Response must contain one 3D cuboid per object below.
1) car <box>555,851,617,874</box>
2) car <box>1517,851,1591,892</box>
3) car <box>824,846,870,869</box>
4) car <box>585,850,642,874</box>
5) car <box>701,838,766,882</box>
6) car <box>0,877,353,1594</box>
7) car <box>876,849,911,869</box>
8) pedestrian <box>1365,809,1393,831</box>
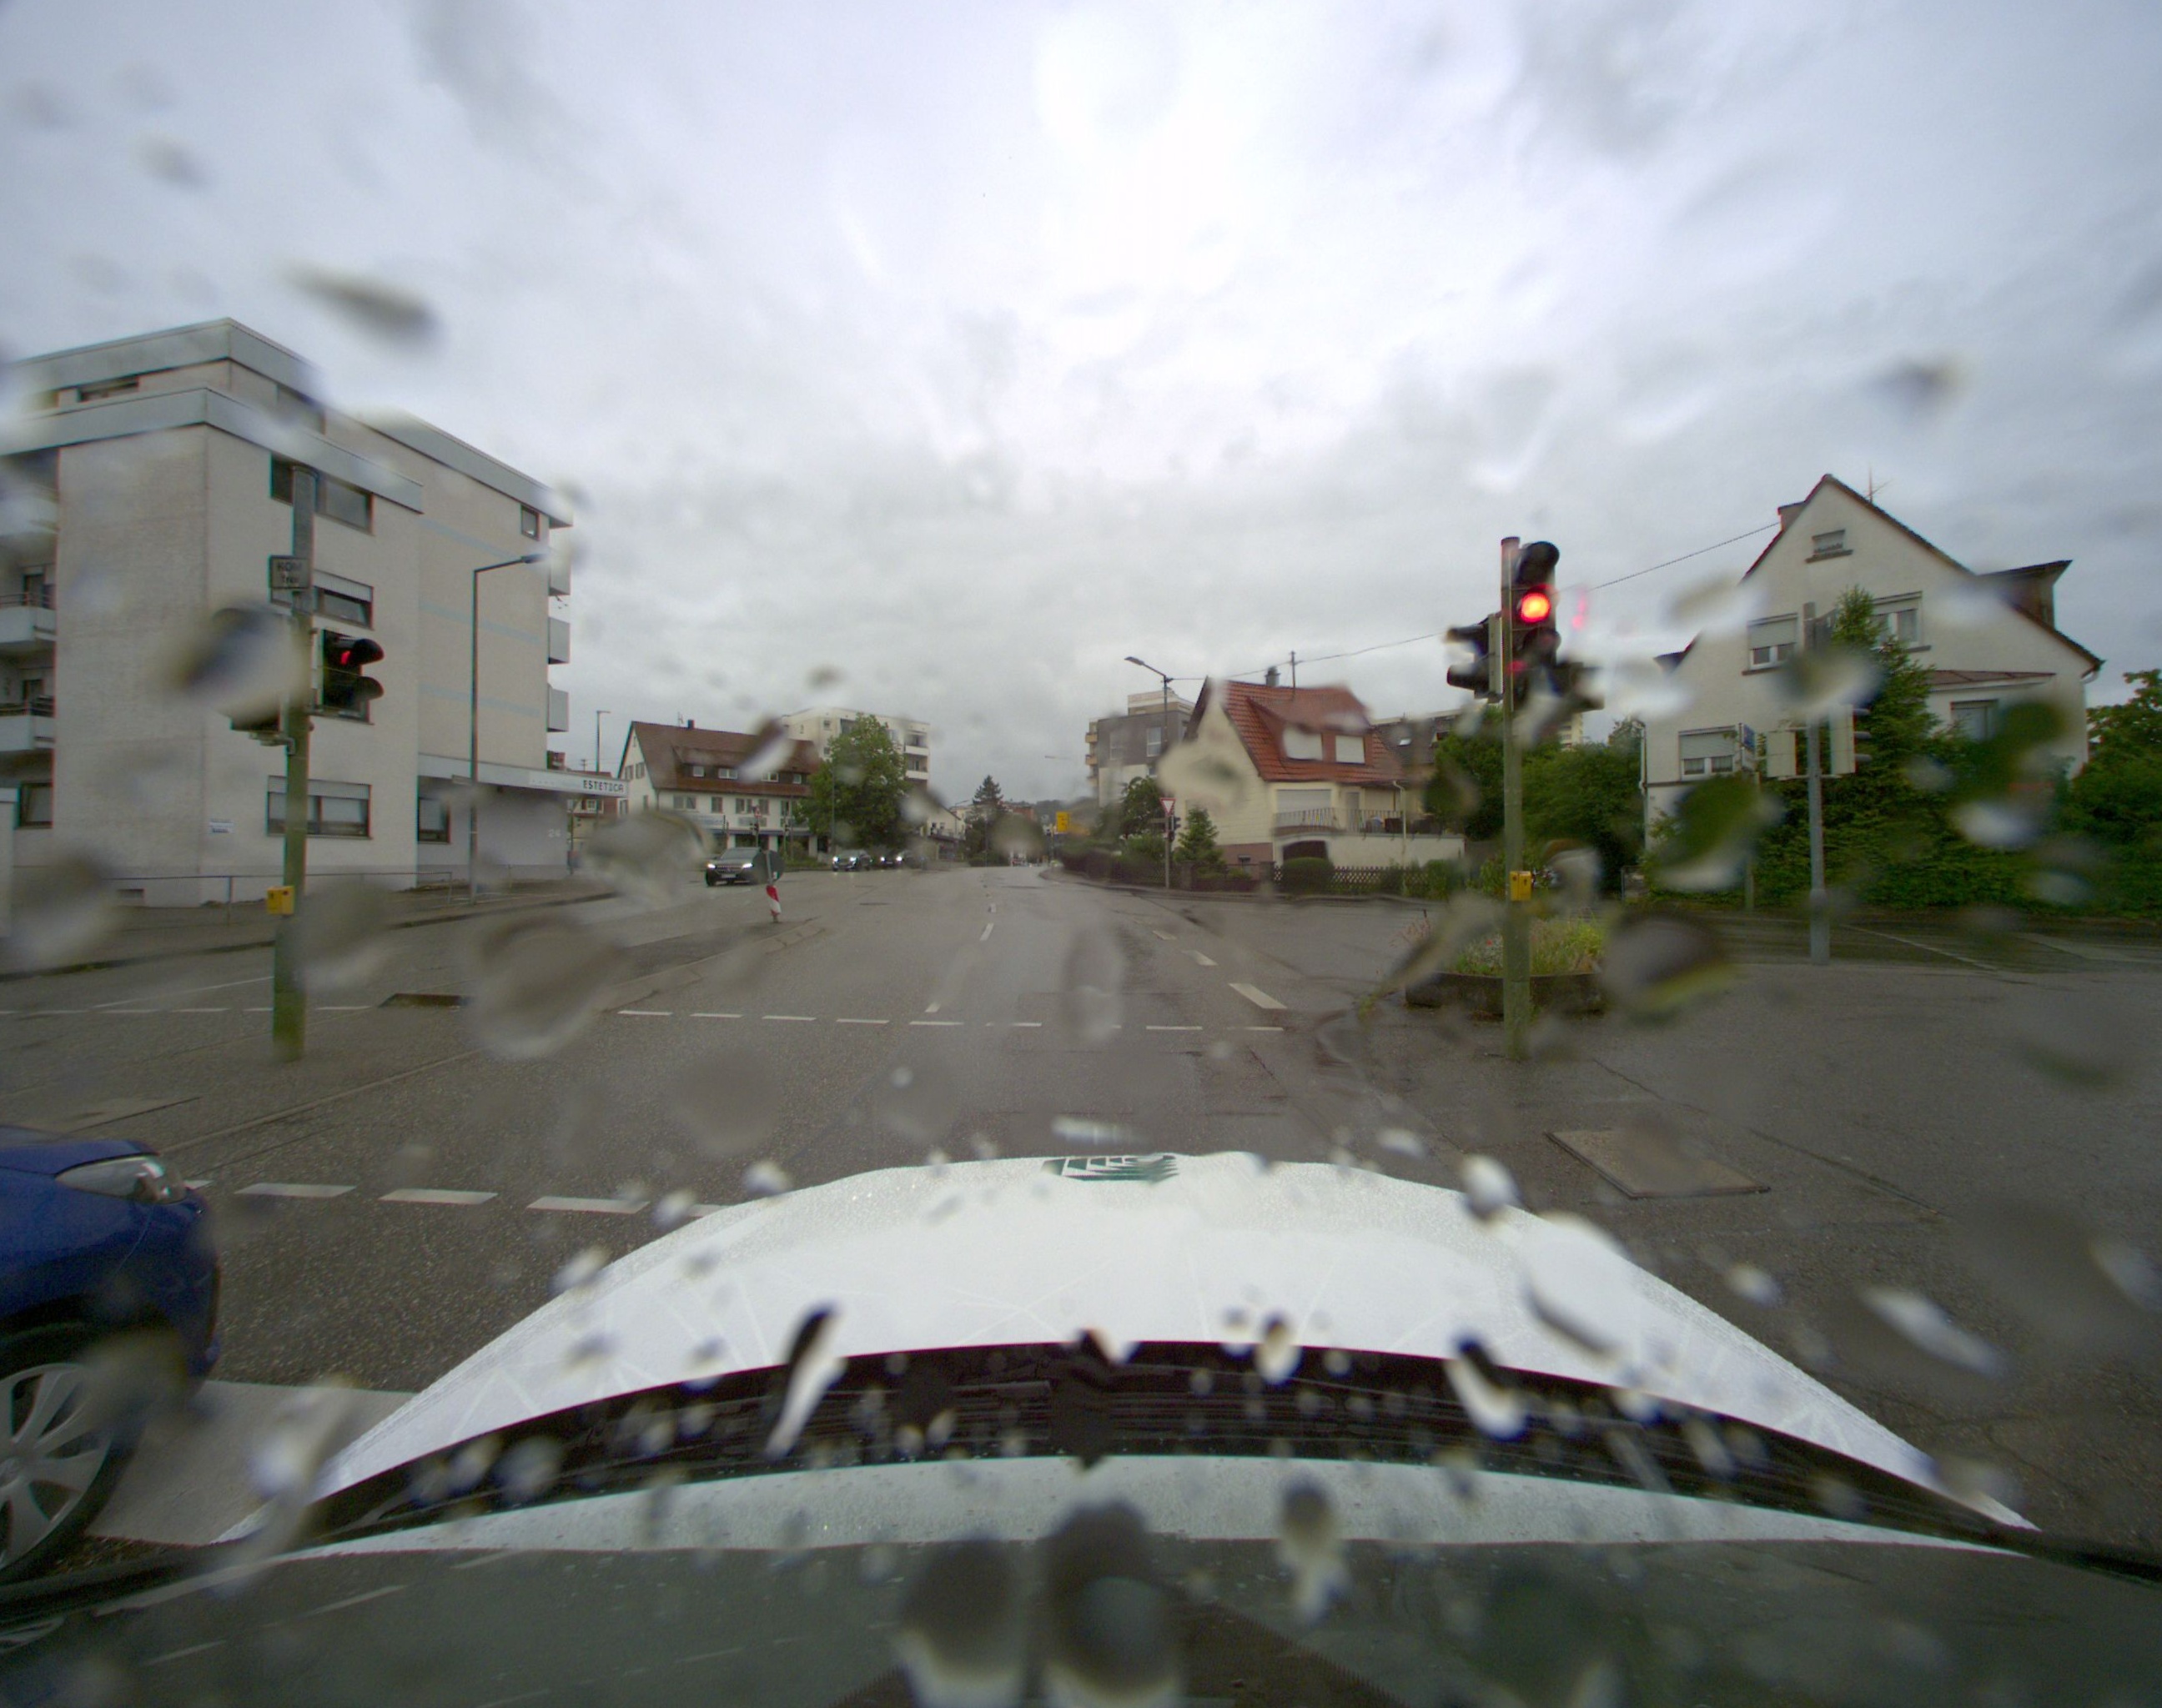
[{"bbox_3d":[-41.215,0.672,67.803,4.093,1.843,1.864,0,-1,-44],"label":"car"},{"bbox_3d":[17.112,0.597,29.373,1.794,1.362,4.025,-1,-1,37],"label":"car"},{"bbox_3d":[-15.996,0.262,55.834,1.960,1.512,3.999,0,-1,0],"label":"car"},{"bbox_3d":[-38.442,0.613,66.980,3.706,1.920,1.864,0,-1,-44],"label":"car"},{"bbox_3d":[-13.926,0.256,32.504,2.005,1.625,4.497,0,-1,-28],"label":"car"},{"bbox_3d":[-2.950,0.786,0.728,1.499,1.413,3.365,0,0,2],"label":"car"},{"bbox_3d":[-15.316,0.400,66.699,1.873,1.597,4.184,0,-1,0],"label":"car"},{"bbox_3d":[12.771,-1.434,34.859,0.918,0.883,0.632,0,-3,-18],"label":"pedestrian"}]
